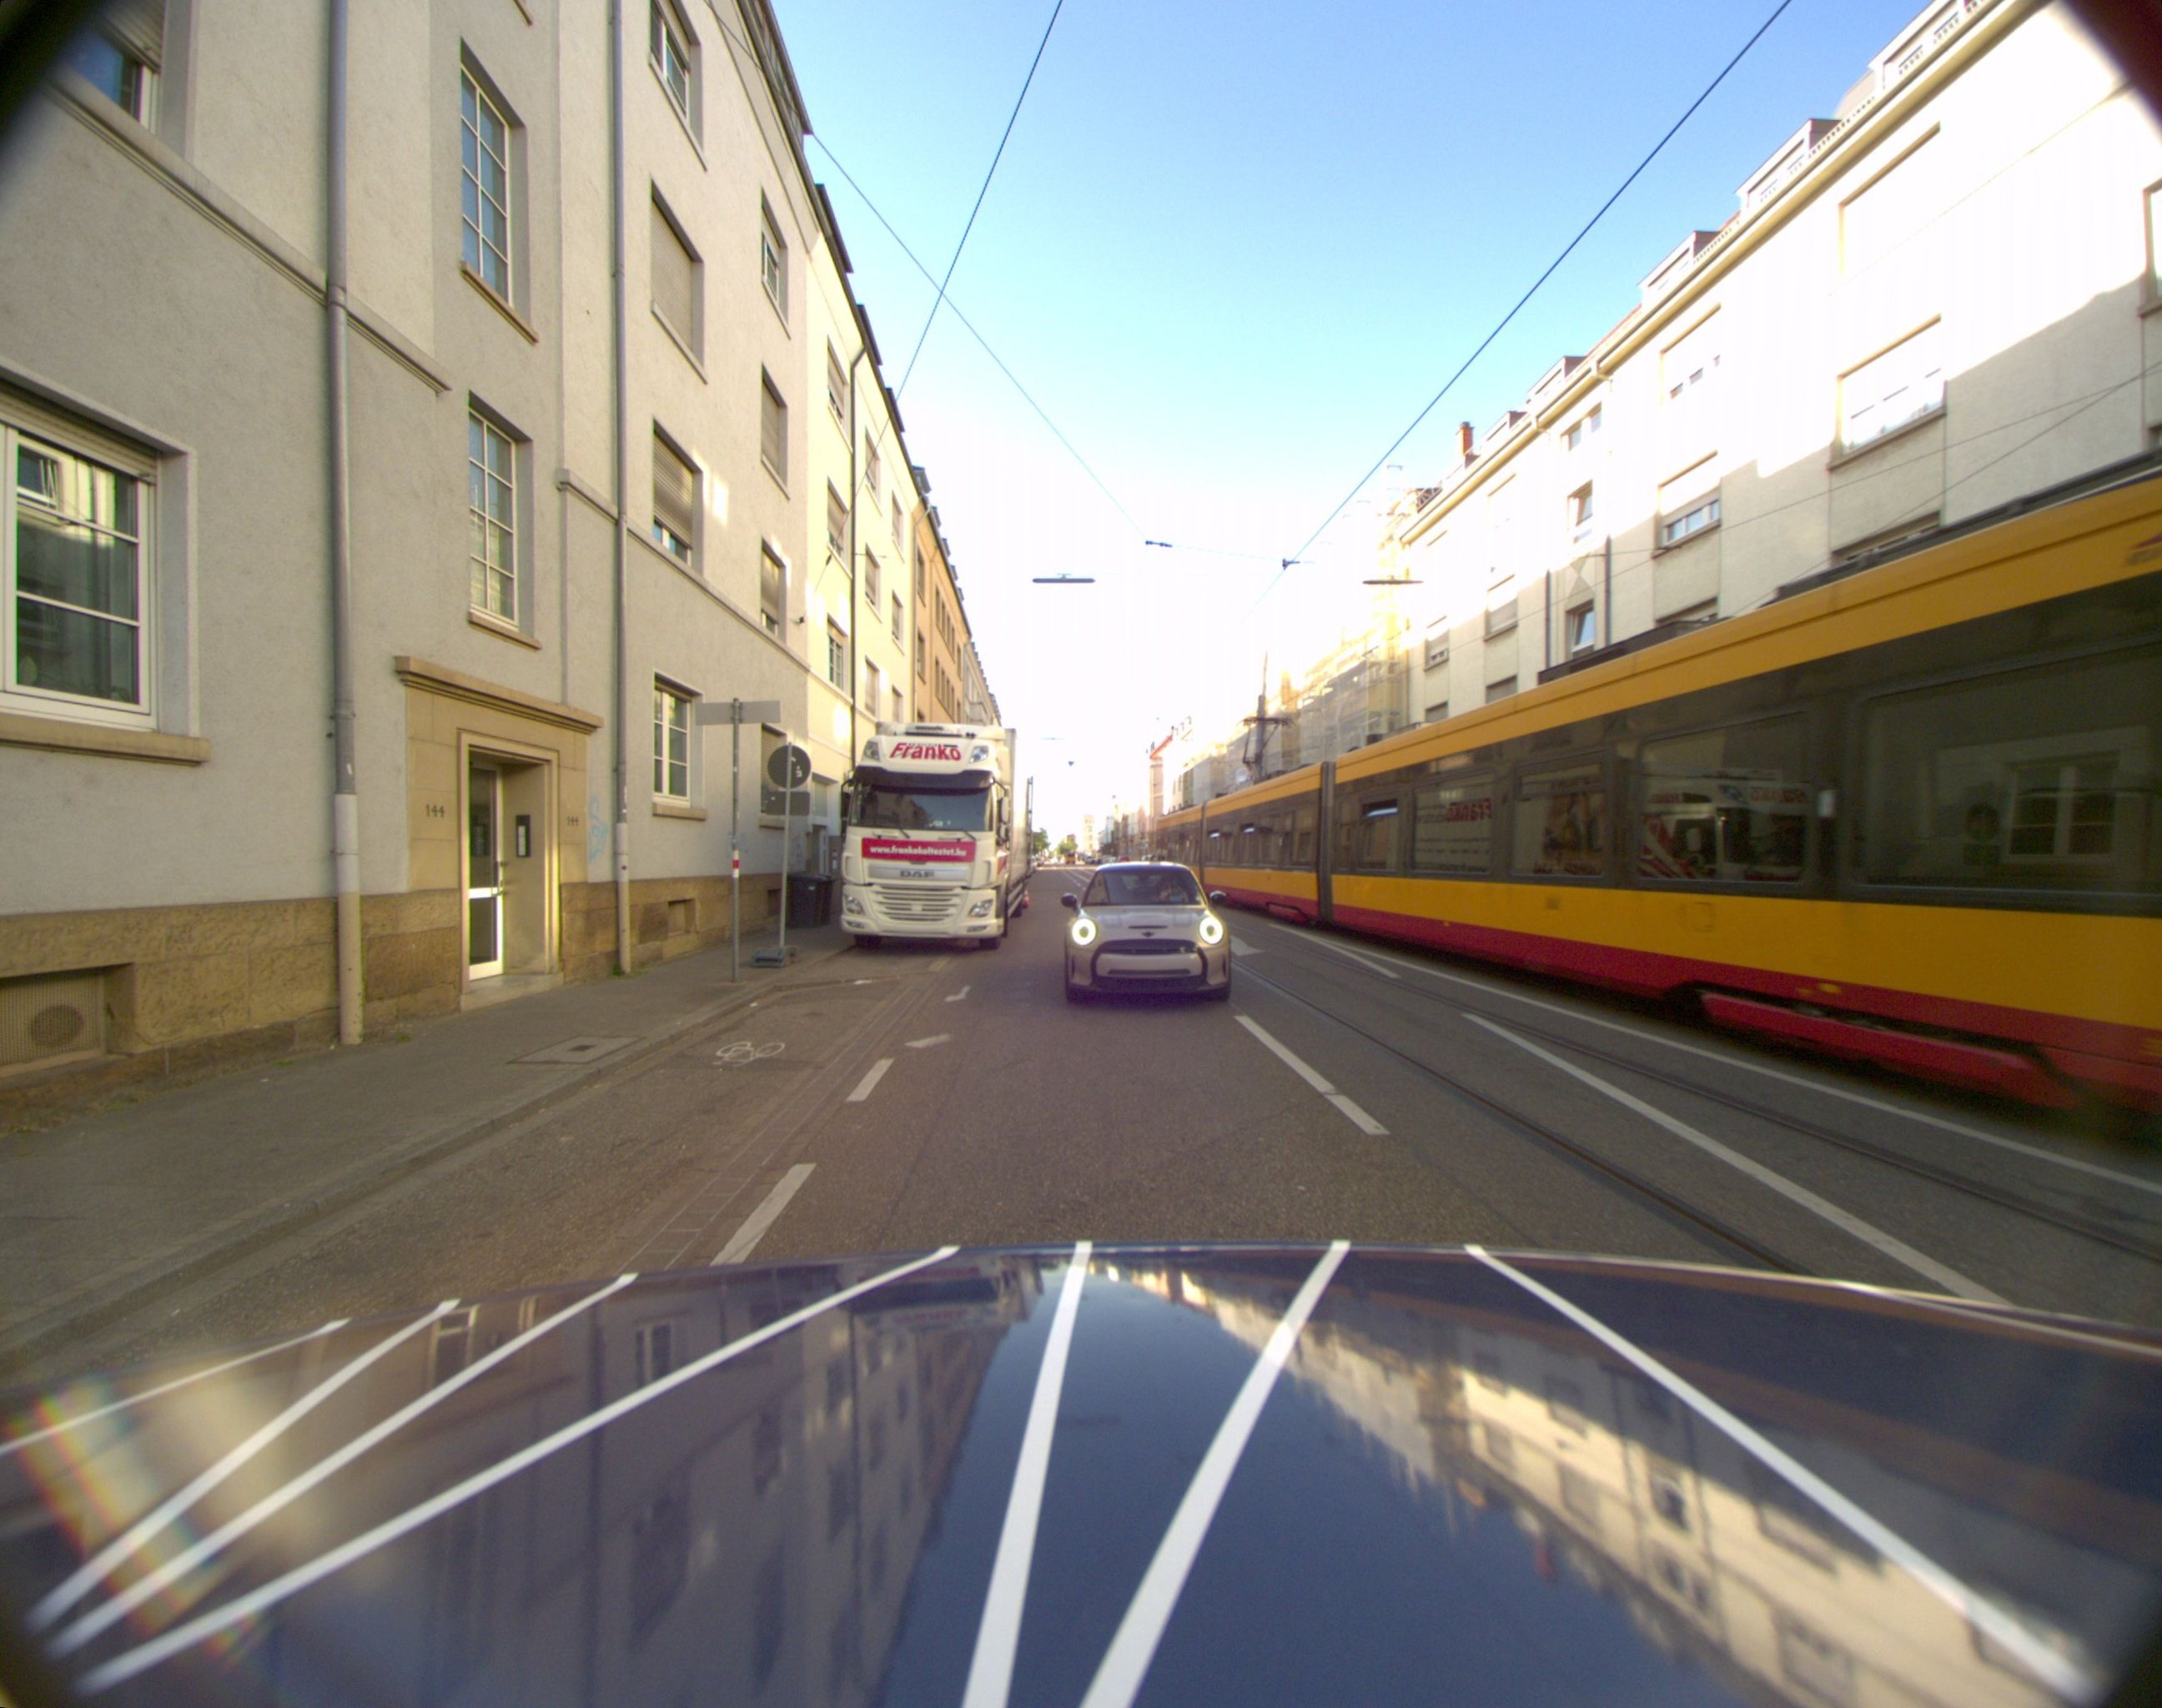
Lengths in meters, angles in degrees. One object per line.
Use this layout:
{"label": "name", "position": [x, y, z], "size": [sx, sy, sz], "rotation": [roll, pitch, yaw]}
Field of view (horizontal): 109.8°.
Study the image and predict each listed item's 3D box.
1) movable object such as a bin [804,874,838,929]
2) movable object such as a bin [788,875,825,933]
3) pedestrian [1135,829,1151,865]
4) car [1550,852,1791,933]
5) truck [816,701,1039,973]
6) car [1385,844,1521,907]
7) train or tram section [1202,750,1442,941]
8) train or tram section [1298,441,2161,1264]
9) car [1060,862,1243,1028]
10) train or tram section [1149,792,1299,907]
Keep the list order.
{"label": "movable object such as a bin", "position": [-5.362, 0.971, 15.668], "size": [0.512, 1.085, 0.495], "rotation": [-2, 1, -4]}
{"label": "movable object such as a bin", "position": [-5.413, 0.971, 14.999], "size": [0.512, 1.085, 0.495], "rotation": [-2, 1, -4]}
{"label": "pedestrian", "position": [7.704, -0.829, 94.550], "size": [1.723, 4.377, 1.153], "rotation": [-2, 1, 2]}
{"label": "car", "position": [11.002, 0.642, 14.517], "size": [1.751, 1.269, 3.488], "rotation": [-2, 1, -4]}
{"label": "truck", "position": [-2.594, -0.252, 17.154], "size": [2.899, 3.939, 11.704], "rotation": [-2, 0, -2]}
{"label": "car", "position": [10.536, 0.533, 21.865], "size": [1.712, 1.582, 4.112], "rotation": [-2, 1, -3]}
{"label": "train or tram section", "position": [5.438, -0.195, 19.368], "size": [2.833, 3.610, 9.081], "rotation": [-2, 1, -2]}
{"label": "train or tram section", "position": [5.930, -0.076, 7.664], "size": [2.752, 3.611, 14.259], "rotation": [-2, 1, -2]}
{"label": "car", "position": [0.652, 0.865, 9.048], "size": [1.692, 1.495, 4.000], "rotation": [0, 0, 0]}
{"label": "train or tram section", "position": [5.064, -0.186, 30.228], "size": [3.070, 3.573, 12.626], "rotation": [1, 0, -2]}
